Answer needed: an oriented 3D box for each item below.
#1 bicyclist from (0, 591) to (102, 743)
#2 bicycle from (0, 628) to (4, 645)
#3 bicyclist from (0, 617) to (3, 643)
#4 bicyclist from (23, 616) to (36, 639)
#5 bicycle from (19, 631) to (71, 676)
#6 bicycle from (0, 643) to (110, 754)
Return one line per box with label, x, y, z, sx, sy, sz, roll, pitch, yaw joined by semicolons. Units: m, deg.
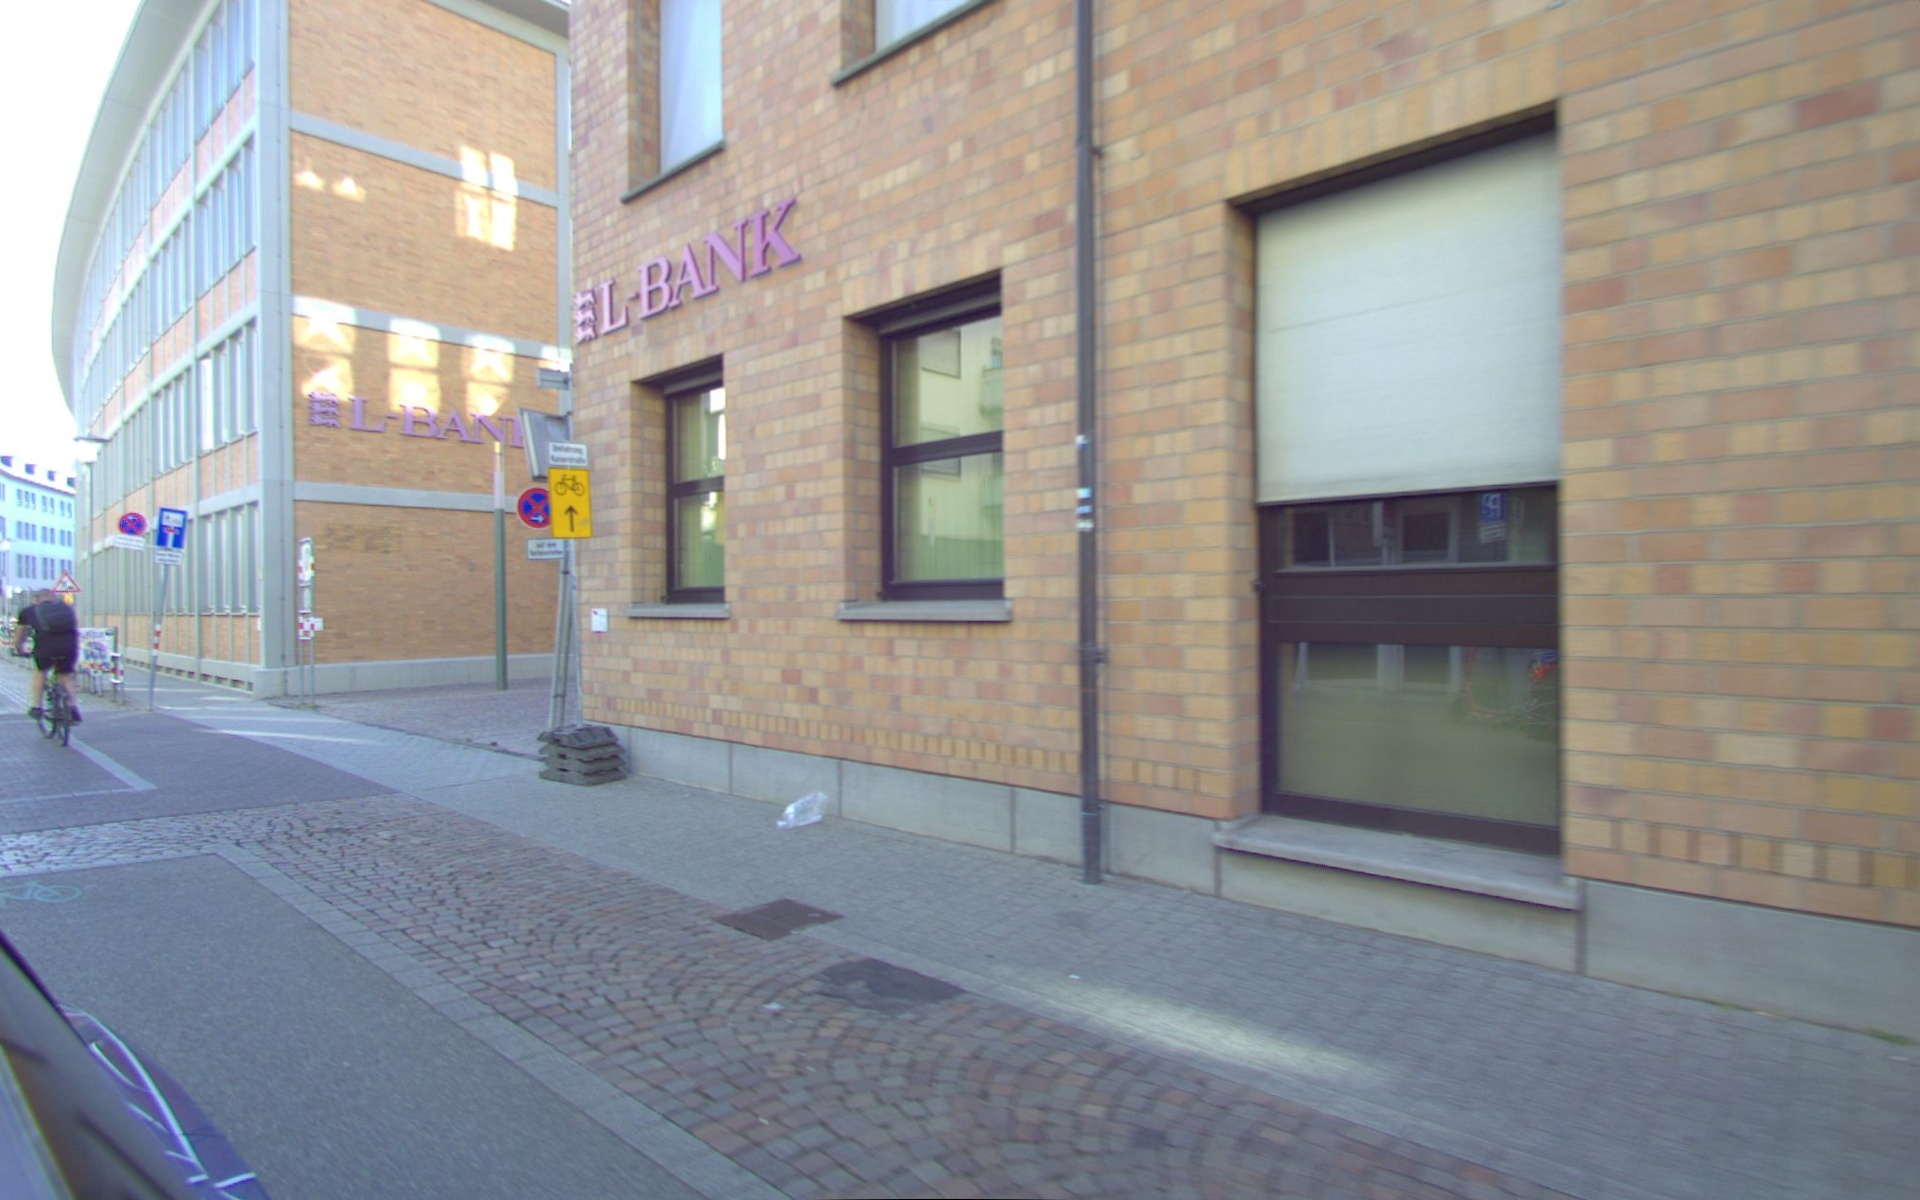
bicyclist;-10.440;0.738;11.578;0.923;1.655;0.656;0;-3;34
bicycle;-58.507;2.211;61.469;0.568;0.968;1.722;-1;0;-41
bicyclist;-58.549;1.812;61.469;0.568;1.545;0.817;-1;0;-41
bicyclist;-64.611;1.882;70.270;0.572;1.586;0.693;-1;0;-40
bicycle;-23.004;1.338;25.444;1.819;1.062;0.620;-1;0;37
bicycle;-10.473;1.092;11.588;1.731;1.140;0.645;0;-3;35
